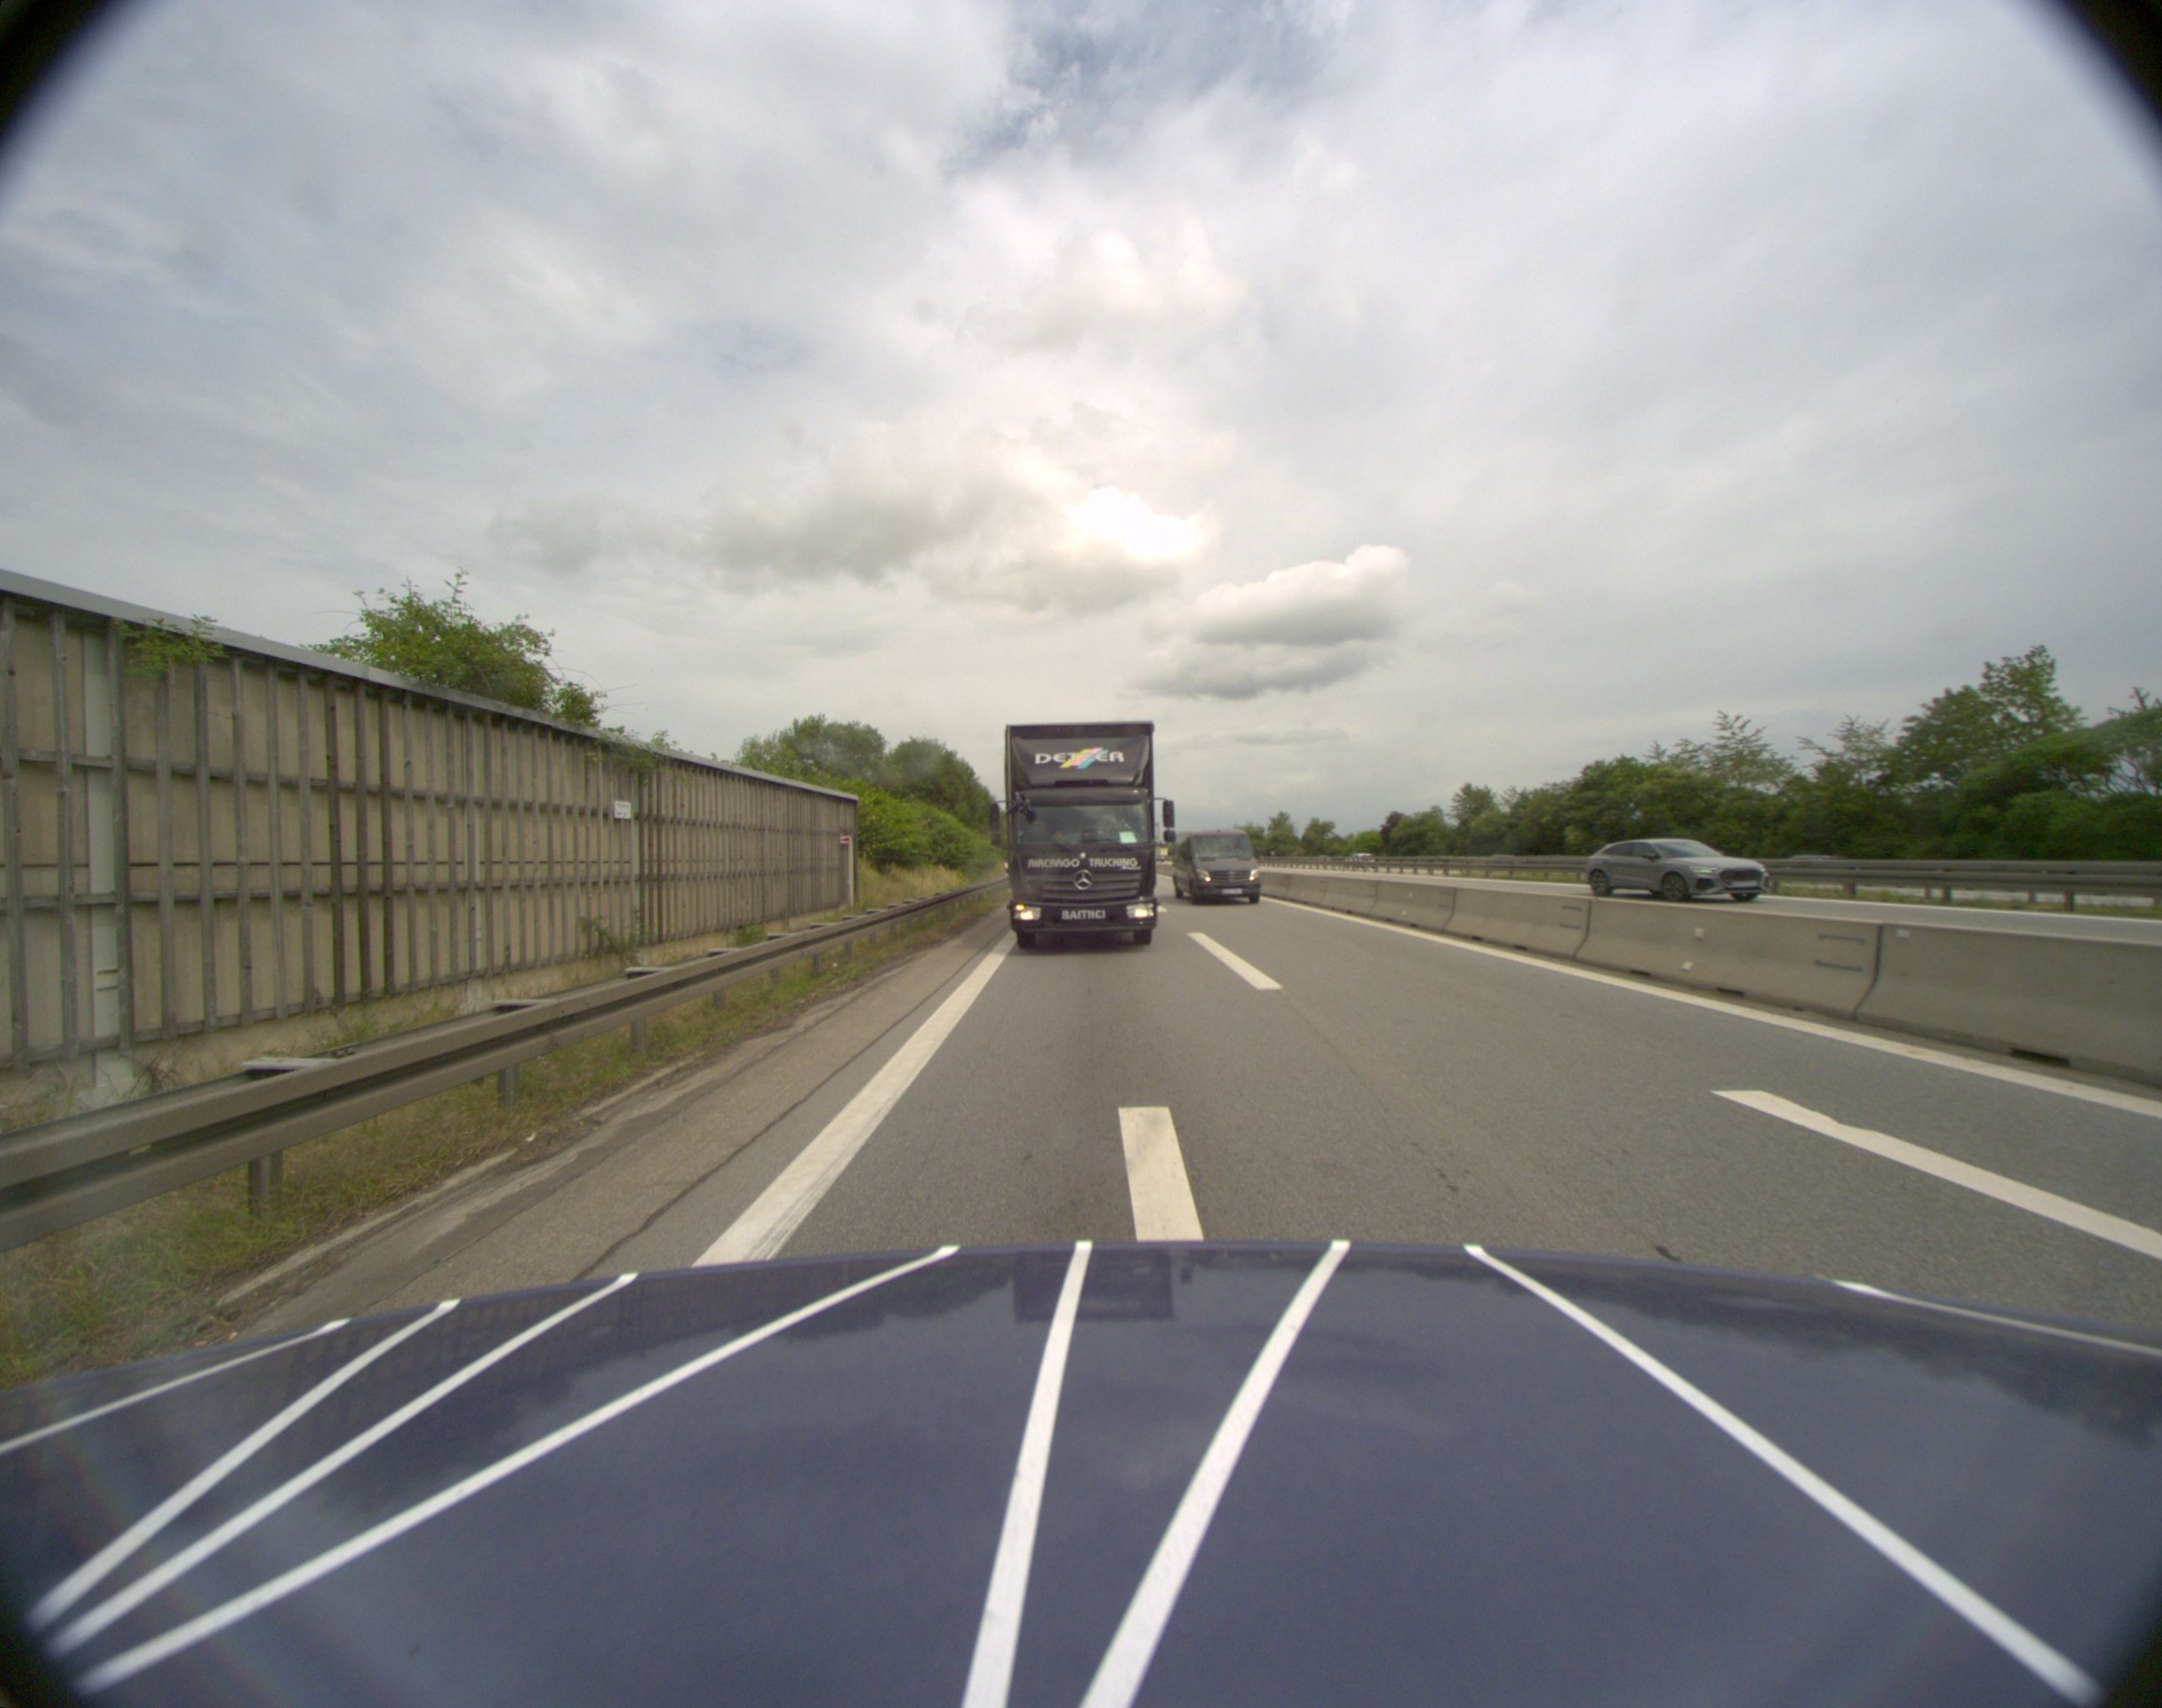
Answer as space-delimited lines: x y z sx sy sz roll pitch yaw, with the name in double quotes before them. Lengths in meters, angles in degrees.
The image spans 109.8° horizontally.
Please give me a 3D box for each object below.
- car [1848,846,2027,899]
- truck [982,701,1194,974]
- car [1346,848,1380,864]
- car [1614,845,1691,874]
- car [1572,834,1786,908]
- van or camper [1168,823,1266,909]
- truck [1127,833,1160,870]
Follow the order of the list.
"car" 29.970 0.596 26.788 1.692 1.718 3.998 -1 0 -3
"truck" -0.099 -0.269 16.366 3.025 3.931 10.337 -2 0 -2
"car" 27.970 0.215 75.436 1.737 1.511 3.718 -1 0 -3
"car" 35.503 0.333 47.356 1.691 1.718 3.999 -2 0 -1
"car" 15.199 0.381 19.732 1.906 1.630 4.645 -2 0 1
"van or camper" 4.178 0.324 24.452 2.004 2.357 6.126 -1 0 0
"truck" 5.567 -0.219 68.680 2.410 3.072 6.370 -2 0 0
